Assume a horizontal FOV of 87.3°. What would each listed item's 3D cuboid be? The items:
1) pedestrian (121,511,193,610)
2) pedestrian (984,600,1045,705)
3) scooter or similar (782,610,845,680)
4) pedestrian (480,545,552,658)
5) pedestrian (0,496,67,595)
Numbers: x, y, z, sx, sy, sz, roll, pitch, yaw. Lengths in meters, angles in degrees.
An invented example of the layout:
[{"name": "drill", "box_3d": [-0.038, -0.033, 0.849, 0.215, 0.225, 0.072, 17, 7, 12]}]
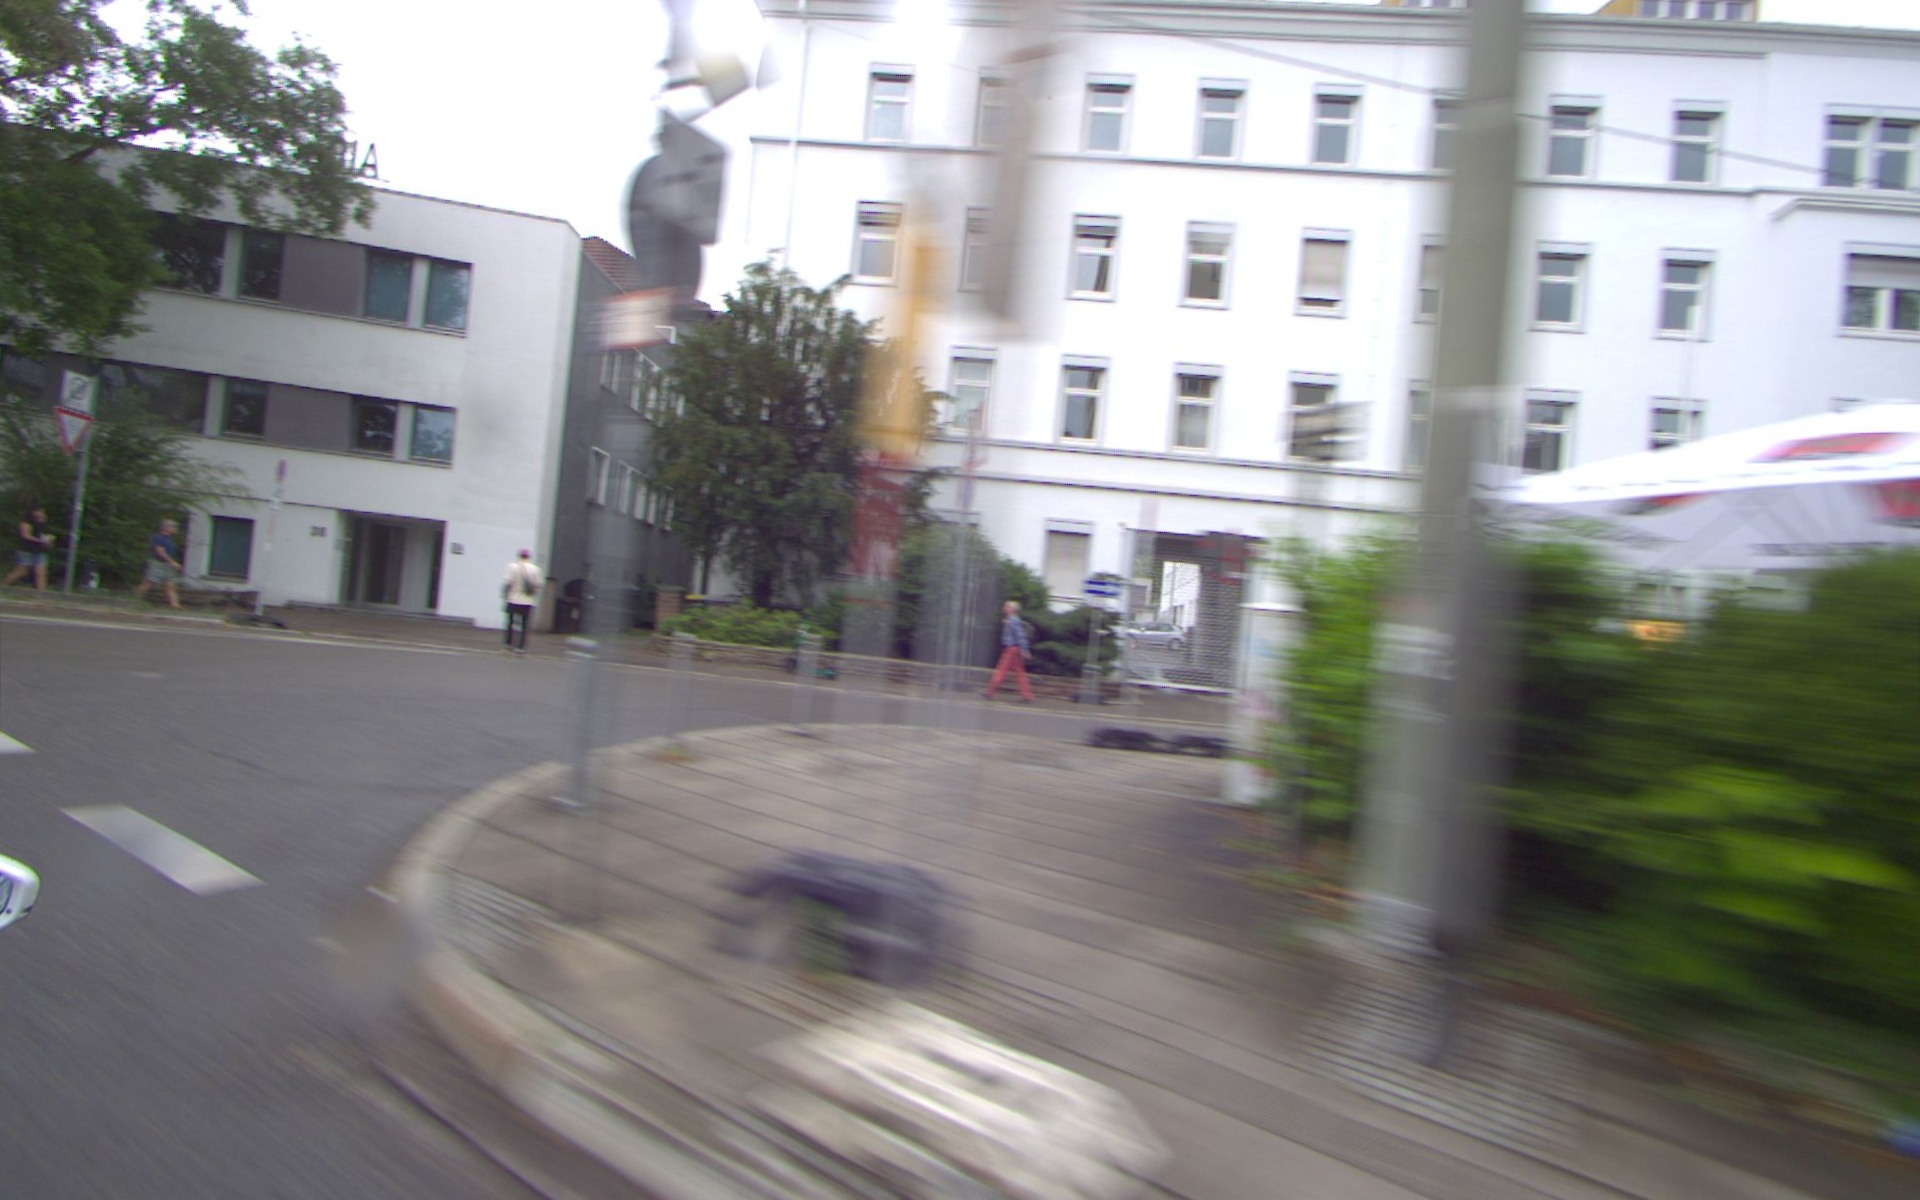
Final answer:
[{"name": "pedestrian", "box_3d": [-14.360, -0.690, 17.998, 0.591, 1.648, 0.546, 9, -1, 0]}, {"name": "pedestrian", "box_3d": [1.069, 1.027, 19.831, 0.902, 1.947, 0.542, 6, 0, -13]}, {"name": "scooter or similar", "box_3d": [-2.976, 0.916, 20.435, 1.081, 1.305, 0.464, 4, -2, 10]}, {"name": "pedestrian", "box_3d": [-7.190, 0.029, 16.323, 0.661, 1.720, 0.745, 7, -1, -5]}, {"name": "pedestrian", "box_3d": [-16.138, -0.943, 17.448, 0.536, 1.583, 0.602, 9, -1, 23]}]
